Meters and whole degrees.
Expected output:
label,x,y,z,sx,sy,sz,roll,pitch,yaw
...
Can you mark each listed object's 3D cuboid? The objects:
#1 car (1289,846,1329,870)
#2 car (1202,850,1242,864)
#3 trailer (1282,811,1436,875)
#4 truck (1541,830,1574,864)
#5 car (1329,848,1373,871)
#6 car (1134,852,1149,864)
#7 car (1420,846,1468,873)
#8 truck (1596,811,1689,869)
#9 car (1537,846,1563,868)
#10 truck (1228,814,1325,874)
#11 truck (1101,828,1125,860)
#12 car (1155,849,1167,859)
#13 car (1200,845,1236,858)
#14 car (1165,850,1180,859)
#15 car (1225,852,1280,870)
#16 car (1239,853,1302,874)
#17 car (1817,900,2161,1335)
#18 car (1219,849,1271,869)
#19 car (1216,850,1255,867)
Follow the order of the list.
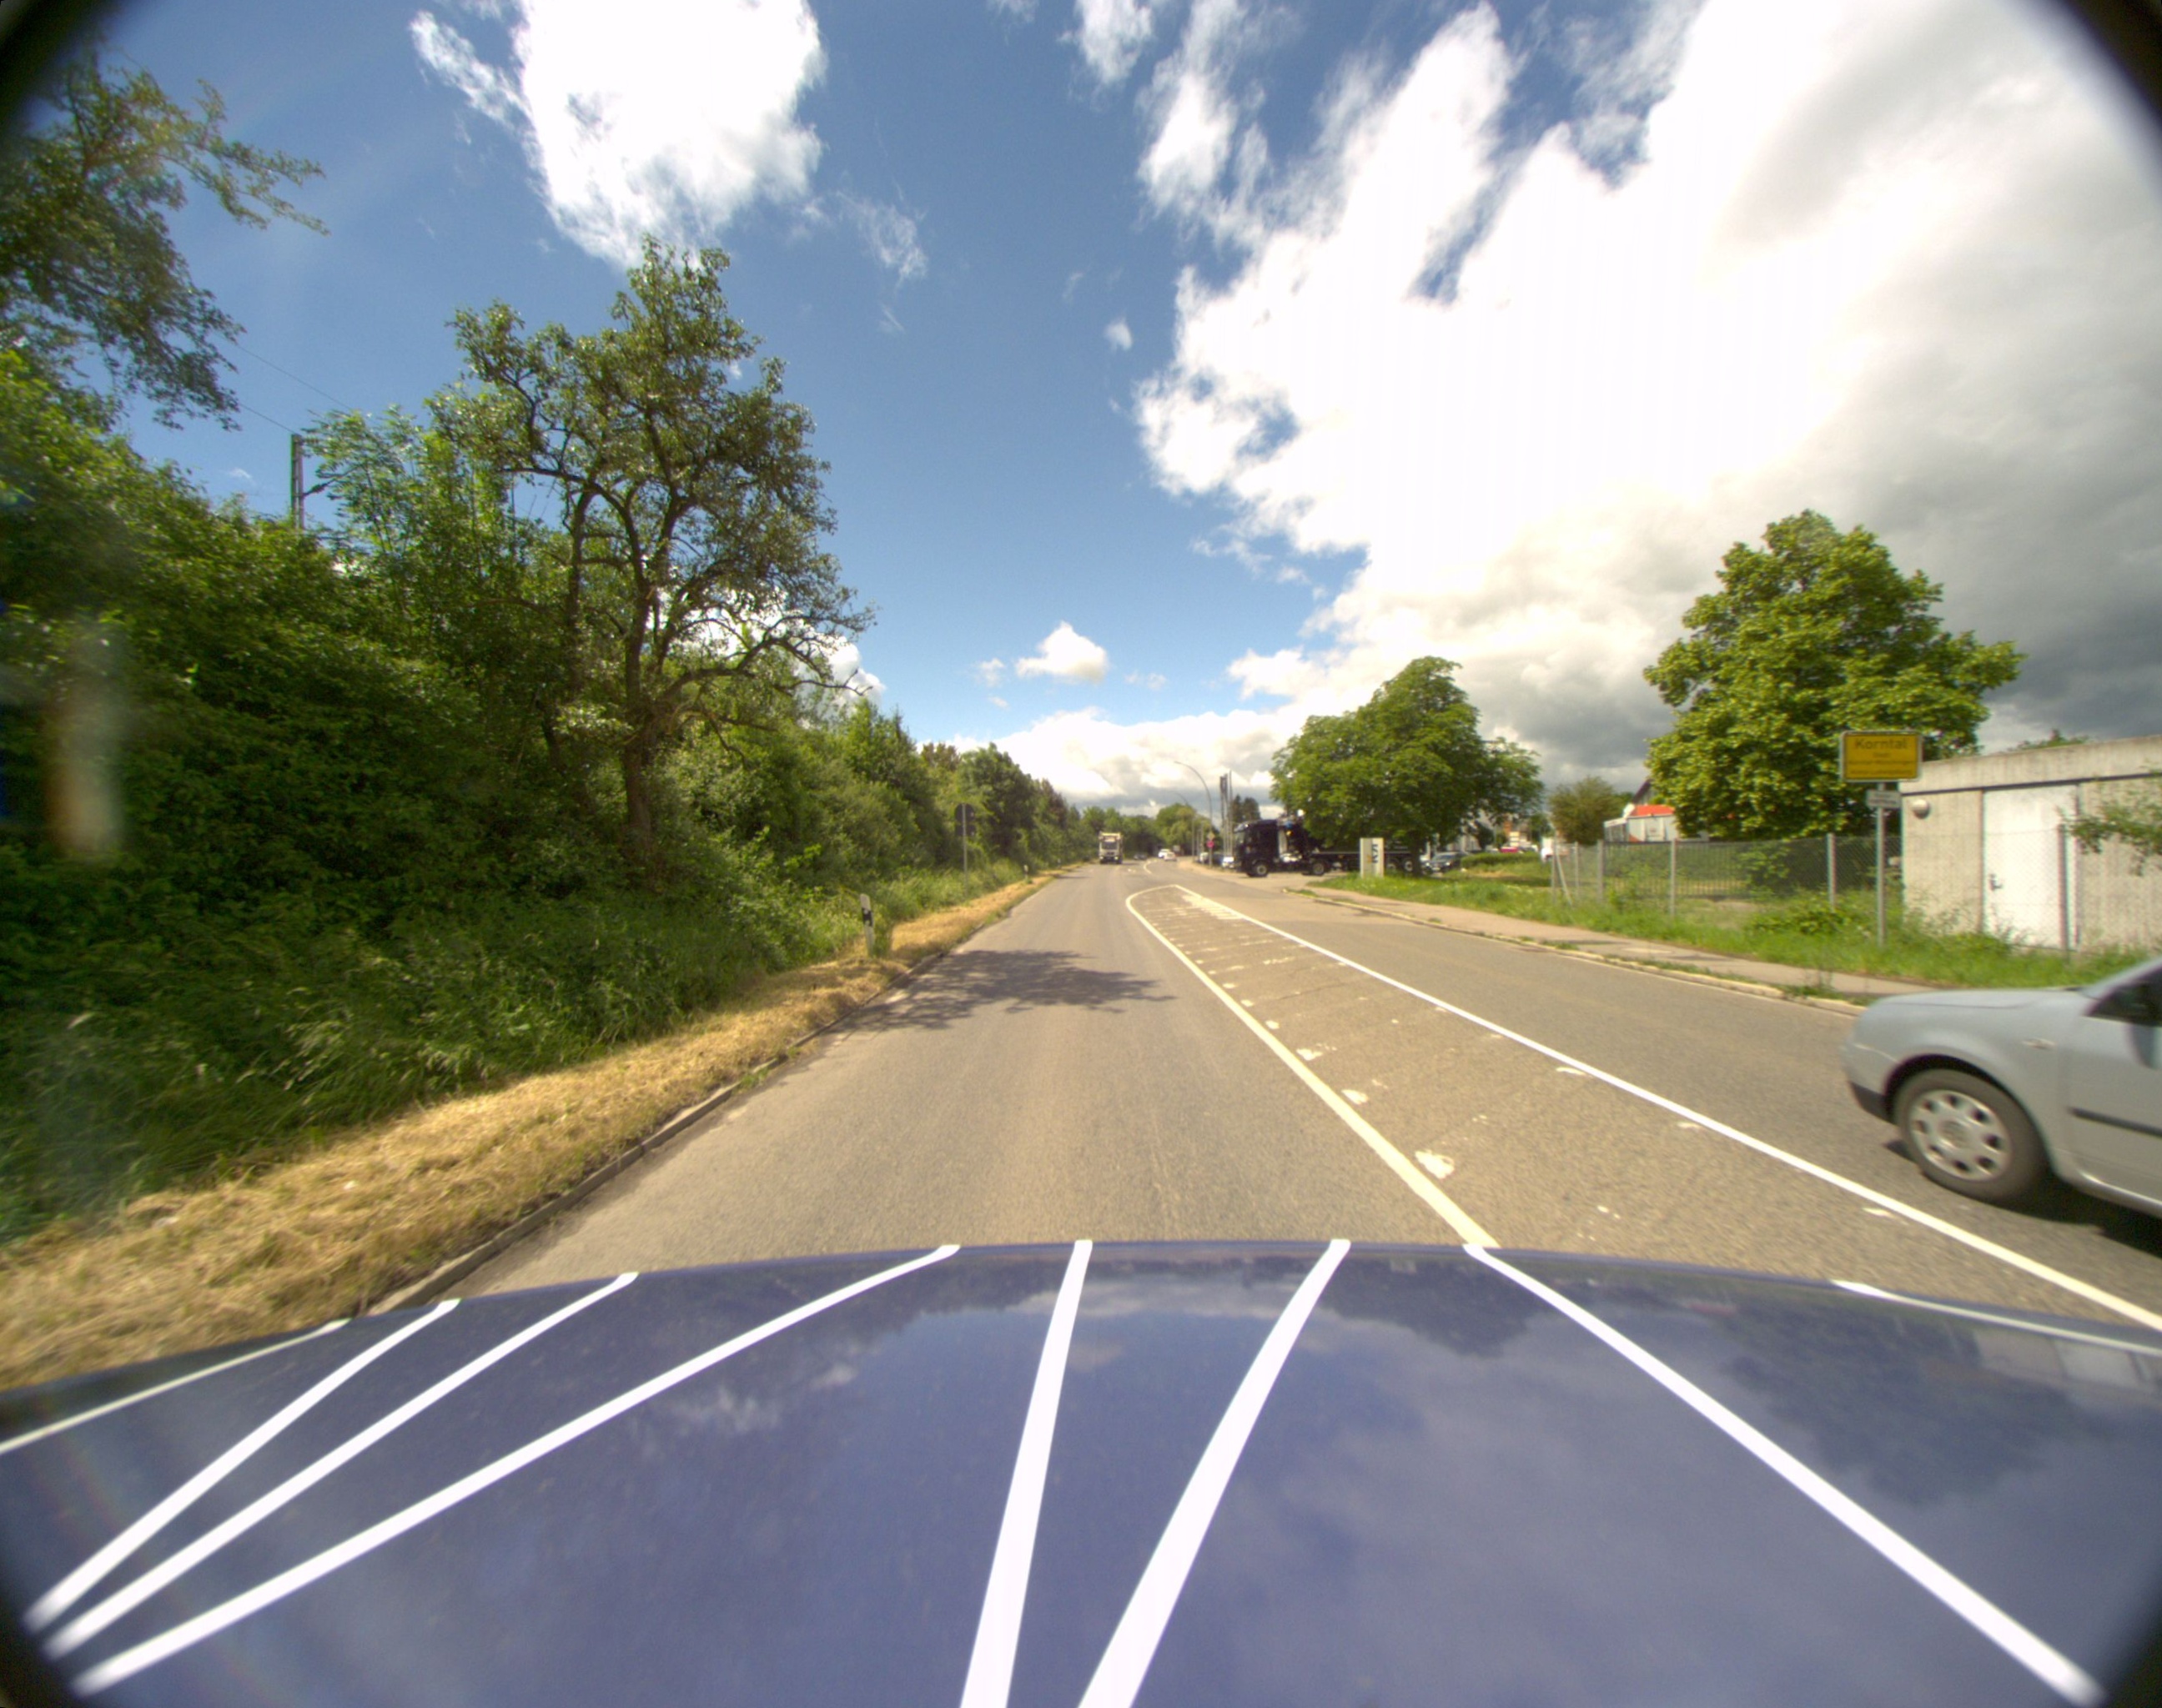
label,x,y,z,sx,sy,sz,roll,pitch,yaw
car,17.386,0.299,58.189,1.935,1.711,4.601,0,0,3
car,17.873,0.395,96.537,4.623,1.615,2.067,-1,-1,40
trailer,18.639,-0.712,51.138,9.471,4.060,3.315,0,1,-13
truck,49.484,-0.707,78.769,2.440,3.403,7.837,0,1,35
car,20.390,0.397,57.577,1.802,1.592,4.765,1,0,3
car,10.343,0.584,129.982,1.952,2.002,4.003,0,1,12
car,26.164,0.376,54.753,1.952,1.865,4.126,0,1,43
truck,32.451,-0.759,44.286,2.658,3.031,8.605,0,0,25
car,40.123,0.203,65.062,1.828,1.835,4.683,0,1,31
truck,12.786,-0.640,50.062,5.569,3.802,2.983,0,1,-3
truck,4.027,-1.268,95.764,2.904,3.746,9.635,0,1,2
car,16.532,-0.013,156.792,1.952,2.002,4.004,0,1,12
car,20.131,-0.368,111.856,4.944,1.827,1.897,0,0,42
car,15.517,0.133,128.464,1.996,1.442,4.431,2,1,14
car,14.636,0.592,64.765,4.334,1.457,1.793,-1,-1,-25
car,15.490,0.742,62.013,4.748,1.596,1.984,0,2,-22
car,4.531,0.950,2.016,1.664,1.423,3.693,1,0,3
car,14.746,0.445,68.341,4.305,1.668,1.932,-1,1,-28
car,16.012,0.428,78.655,1.889,1.659,4.580,-2,0,40
